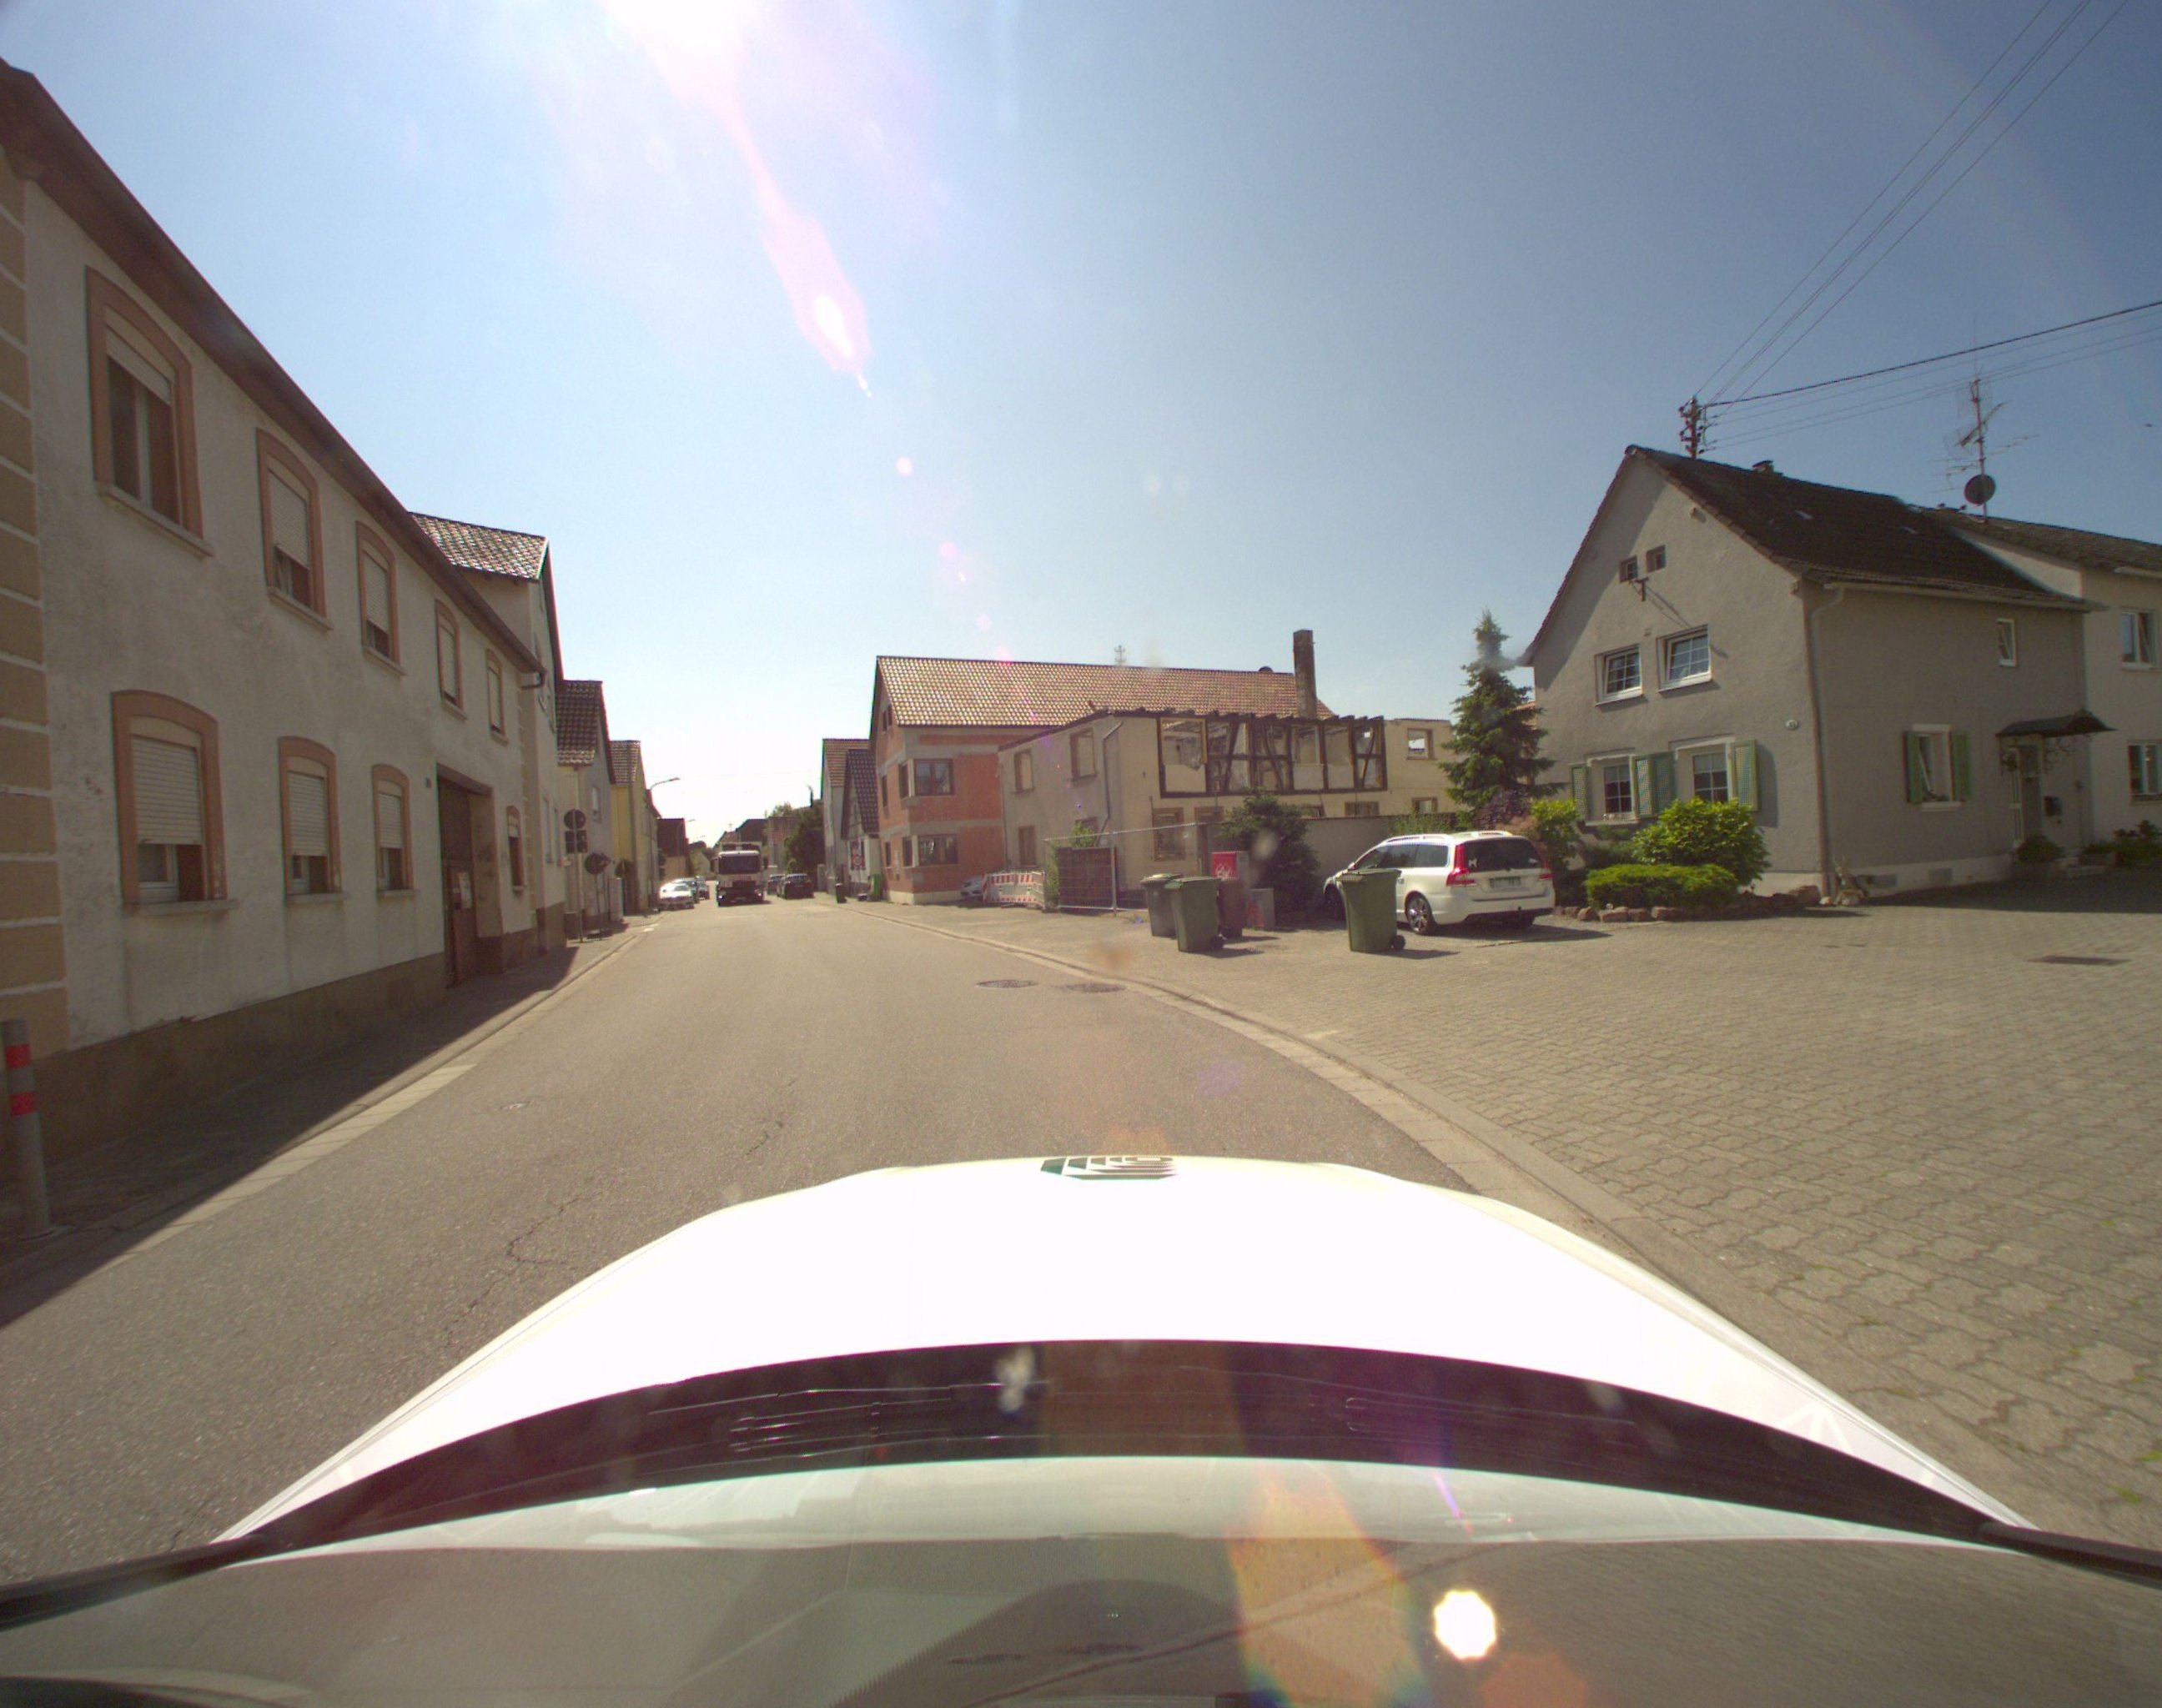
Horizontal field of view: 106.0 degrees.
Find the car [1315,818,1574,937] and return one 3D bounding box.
[{"bbox_3d":[5.695,0.343,13.454,1.810,1.528,4.283,-3,0,-9],"label":"car"}]

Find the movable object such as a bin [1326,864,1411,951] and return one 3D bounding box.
[{"bbox_3d":[3.847,0.697,10.937,0.722,1.081,0.750,-3,-1,-19],"label":"movable object such as a bin"}]

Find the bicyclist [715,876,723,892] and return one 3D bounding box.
[{"bbox_3d":[-40.981,3.409,92.280,0.707,1.771,0.619,-3,-1,-25],"label":"bicyclist"}]

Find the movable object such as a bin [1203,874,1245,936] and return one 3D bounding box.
[{"bbox_3d":[2.350,0.835,13.440,0.466,0.970,0.493,-3,-1,-17],"label":"movable object such as a bin"}]

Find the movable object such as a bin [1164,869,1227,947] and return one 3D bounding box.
[{"bbox_3d":[1.704,0.788,12.190,0.688,1.092,0.634,-3,-1,-16],"label":"movable object such as a bin"}]

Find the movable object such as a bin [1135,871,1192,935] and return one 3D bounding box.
[{"bbox_3d":[1.465,0.866,14.459,0.663,1.072,0.766,-4,-1,33],"label":"movable object such as a bin"}]

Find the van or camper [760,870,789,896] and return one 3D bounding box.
[{"bbox_3d":[-34.135,3.259,90.543,2.534,2.697,4.517,-3,-1,-25],"label":"van or camper"}]

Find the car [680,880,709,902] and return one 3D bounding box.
[{"bbox_3d":[-31.489,2.983,66.431,1.853,1.526,4.728,-3,0,-23],"label":"car"}]

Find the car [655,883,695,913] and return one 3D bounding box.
[{"bbox_3d":[-22.743,2.416,45.546,1.845,1.464,4.232,-4,0,-27],"label":"car"}]

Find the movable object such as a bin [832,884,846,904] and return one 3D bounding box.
[{"bbox_3d":[-11.906,1.967,40.013,0.537,0.913,0.550,-3,-1,-7],"label":"movable object such as a bin"}]

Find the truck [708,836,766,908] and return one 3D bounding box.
[{"bbox_3d":[-20.603,1.078,49.037,2.707,3.750,10.787,-3,0,-22],"label":"truck"}]

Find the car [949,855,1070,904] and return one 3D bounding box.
[{"bbox_3d":[-2.709,0.963,30.914,4.114,1.507,1.852,-4,-1,-30],"label":"car"}]

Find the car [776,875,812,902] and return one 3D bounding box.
[{"bbox_3d":[-18.849,2.236,53.374,1.806,1.560,4.594,-3,-1,-24],"label":"car"}]

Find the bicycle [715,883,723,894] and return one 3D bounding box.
[{"bbox_3d":[-40.997,3.870,92.194,0.592,1.148,1.931,-3,0,-27],"label":"bicycle"}]

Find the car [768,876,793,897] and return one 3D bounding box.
[{"bbox_3d":[-25.263,2.695,68.376,1.800,1.631,4.330,-3,0,-21],"label":"car"}]
